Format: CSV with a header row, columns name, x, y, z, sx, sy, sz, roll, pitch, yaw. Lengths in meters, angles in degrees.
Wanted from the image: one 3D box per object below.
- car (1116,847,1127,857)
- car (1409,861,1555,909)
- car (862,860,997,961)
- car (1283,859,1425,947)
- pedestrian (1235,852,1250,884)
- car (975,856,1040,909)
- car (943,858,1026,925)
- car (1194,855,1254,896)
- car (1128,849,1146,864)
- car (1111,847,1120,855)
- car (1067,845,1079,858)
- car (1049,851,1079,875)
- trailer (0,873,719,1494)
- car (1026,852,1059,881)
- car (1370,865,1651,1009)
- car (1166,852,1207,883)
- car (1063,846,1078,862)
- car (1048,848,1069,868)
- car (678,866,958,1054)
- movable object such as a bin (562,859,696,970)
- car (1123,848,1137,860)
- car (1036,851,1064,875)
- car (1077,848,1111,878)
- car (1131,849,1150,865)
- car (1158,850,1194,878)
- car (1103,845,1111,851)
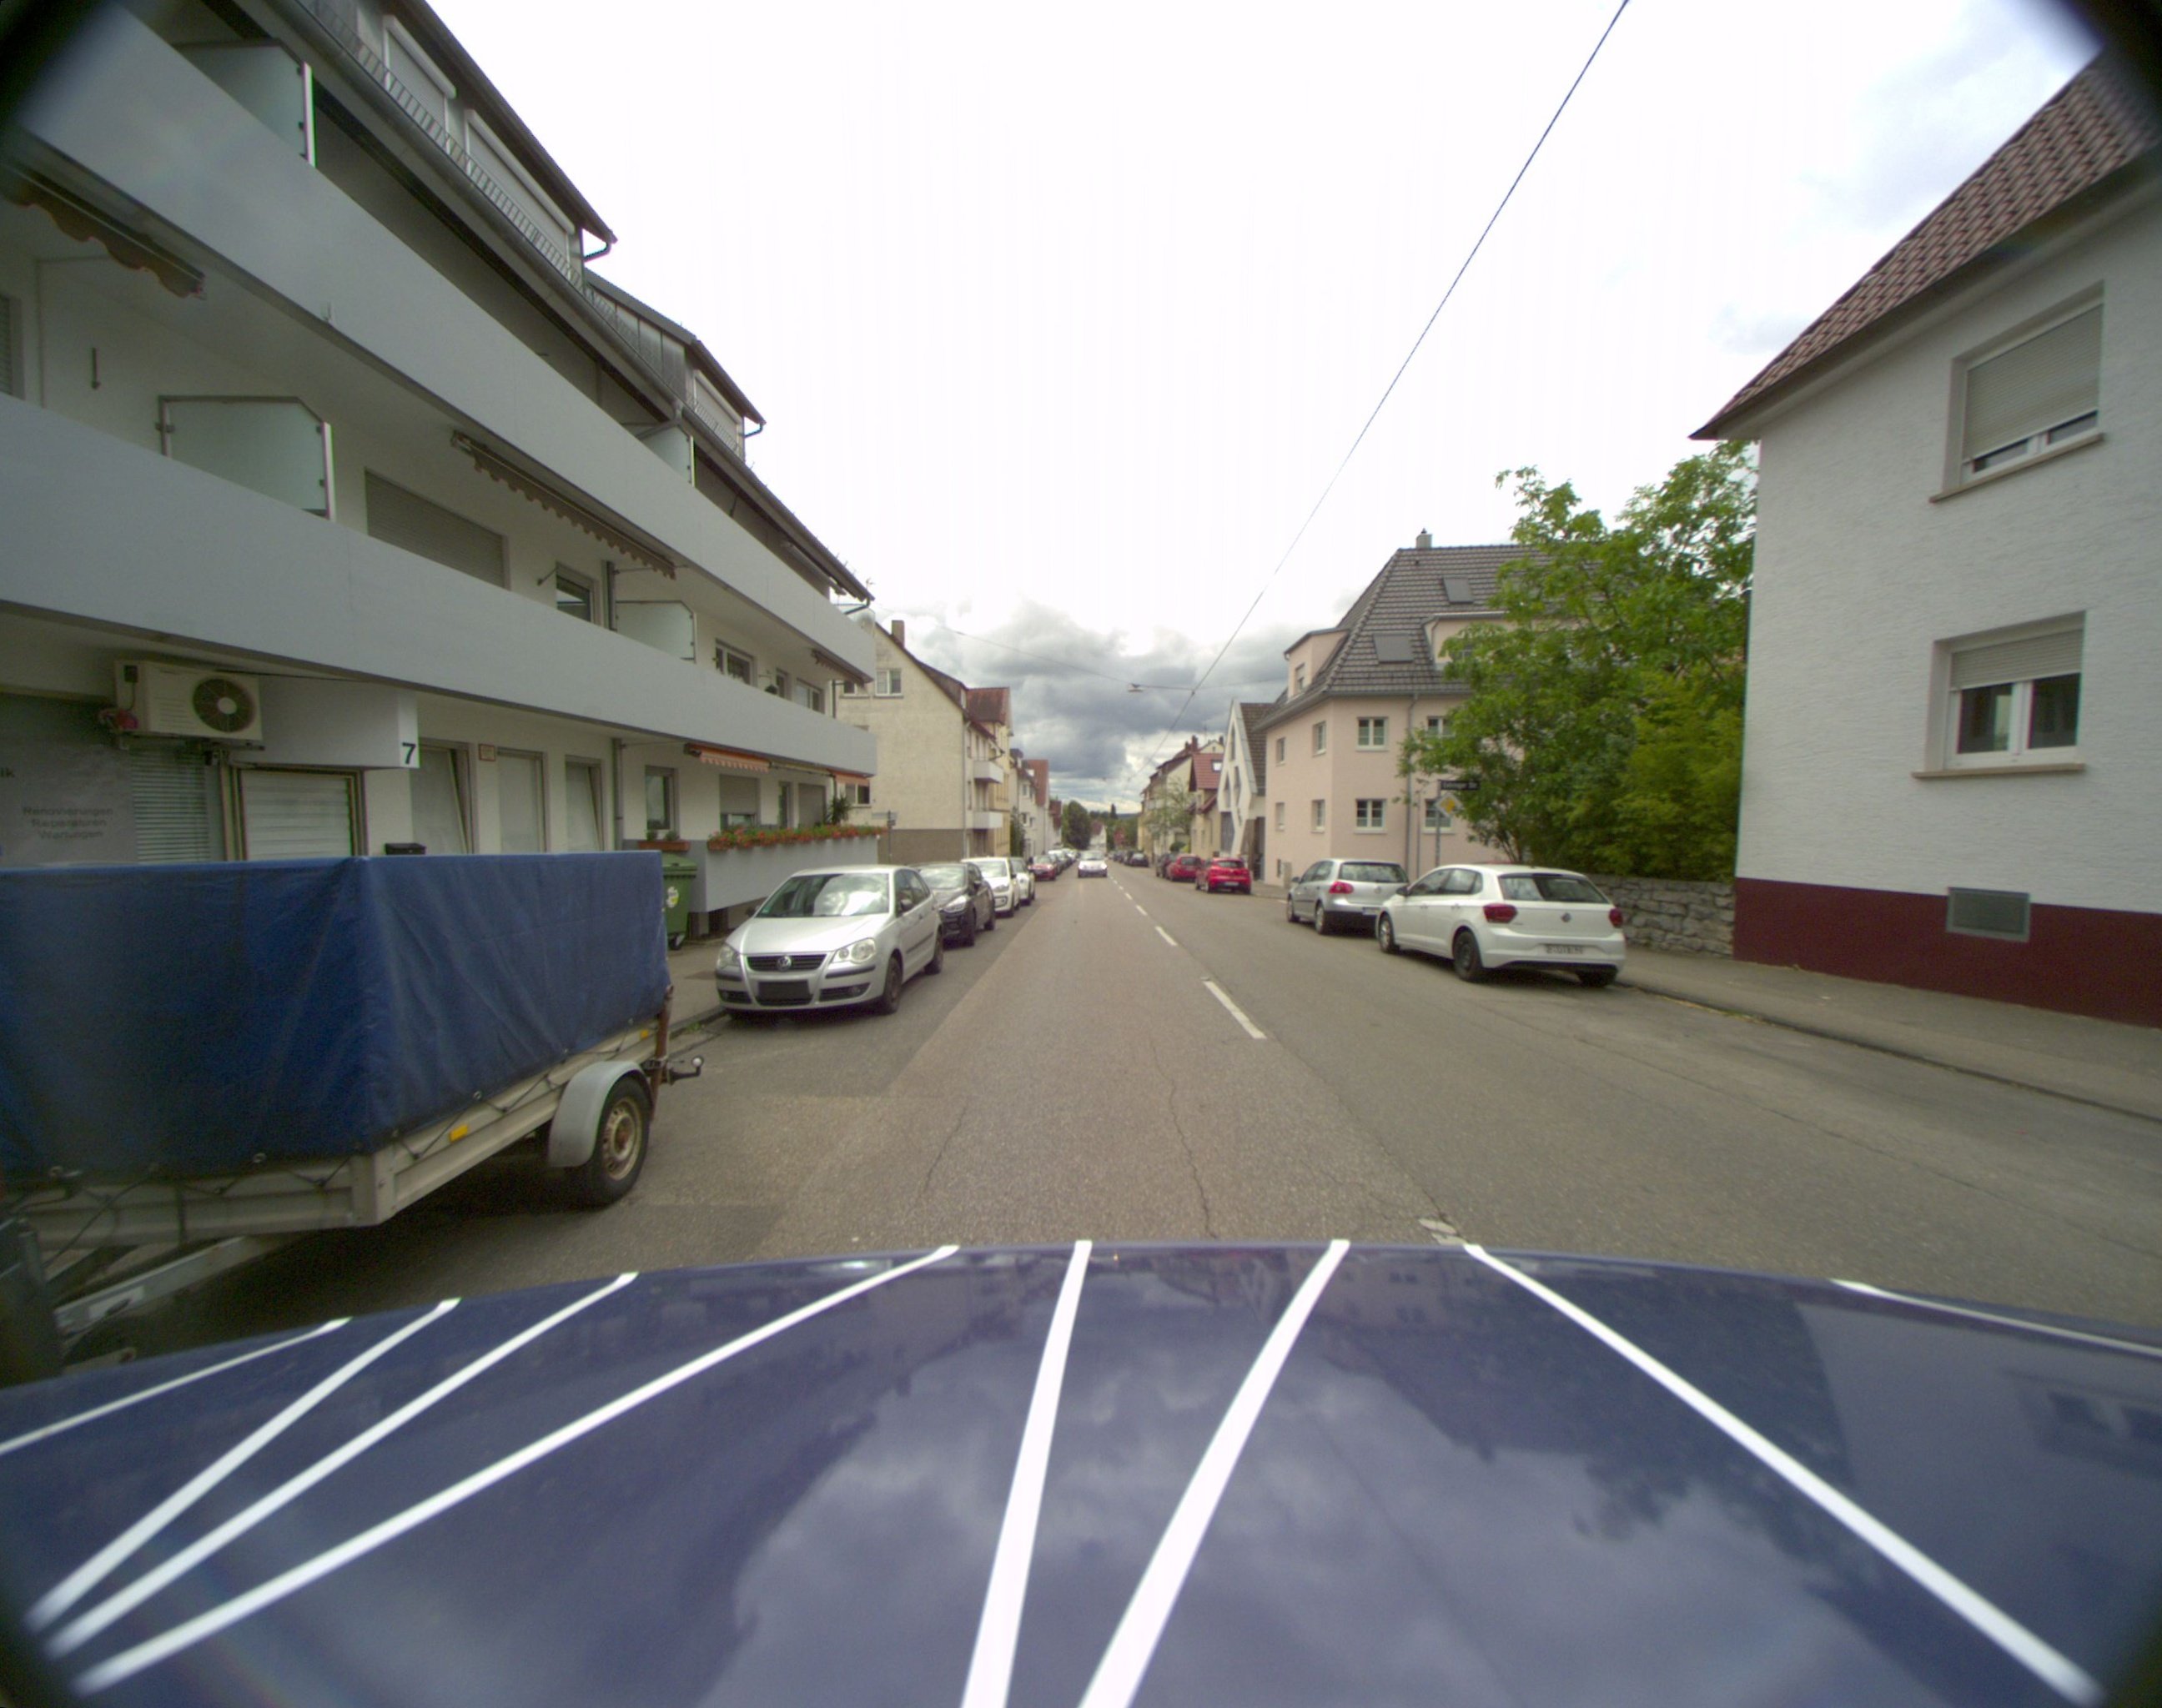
name,x,y,z,sx,sy,sz,roll,pitch,yaw
car,6.718,-0.334,126.159,1.706,1.524,3.735,3,1,0
car,12.666,0.970,24.174,3.731,1.402,1.708,-1,1,5
car,-2.592,0.908,13.872,1.613,1.447,3.859,-2,1,0
car,5.324,0.875,15.327,1.653,1.438,3.774,1,1,3
pedestrian,7.798,0.659,36.690,0.583,1.524,0.600,-2,1,1
car,-2.212,0.830,23.647,1.584,1.397,3.597,-2,1,0
car,-2.372,0.877,19.346,1.613,1.447,3.313,-2,1,0
car,5.775,0.828,31.023,1.706,1.402,3.735,3,1,0
car,6.211,0.230,85.277,1.706,1.524,3.735,3,1,0
car,7.193,-0.638,159.441,1.706,1.524,3.735,3,1,0
car,-1.084,-0.340,110.486,1.613,1.789,3.859,-2,1,0
car,-1.203,0.617,55.356,1.998,1.609,3.999,-2,1,1
trailer,-2.977,0.931,3.445,1.426,1.558,2.834,-2,1,-4
car,-2.118,0.657,42.877,1.613,1.447,3.859,-2,1,0
car,5.445,0.945,10.265,1.653,1.438,3.811,1,1,1
car,5.840,0.699,42.439,1.706,1.524,3.735,3,1,0
car,-1.217,-0.051,88.965,1.613,1.789,3.859,-2,1,0
car,-1.969,0.291,66.604,1.613,1.633,3.859,-2,1,0
car,-2.625,0.956,8.737,1.613,1.447,4.333,-2,1,1
movable object such as a bin,-6.387,0.821,10.826,1.082,1.428,1.260,-2,1,1
car,6.740,-0.041,105.109,1.706,1.524,3.735,3,1,0
car,-2.027,0.596,50.747,1.613,1.447,3.859,-2,1,0
car,0.821,0.474,44.679,1.721,1.587,4.000,-2,1,4
car,6.231,0.305,79.578,1.706,1.524,3.735,3,1,0
car,5.876,0.593,47.388,1.706,1.524,3.735,3,1,0
car,7.225,-1.735,210.479,1.705,1.706,3.737,3,1,5
